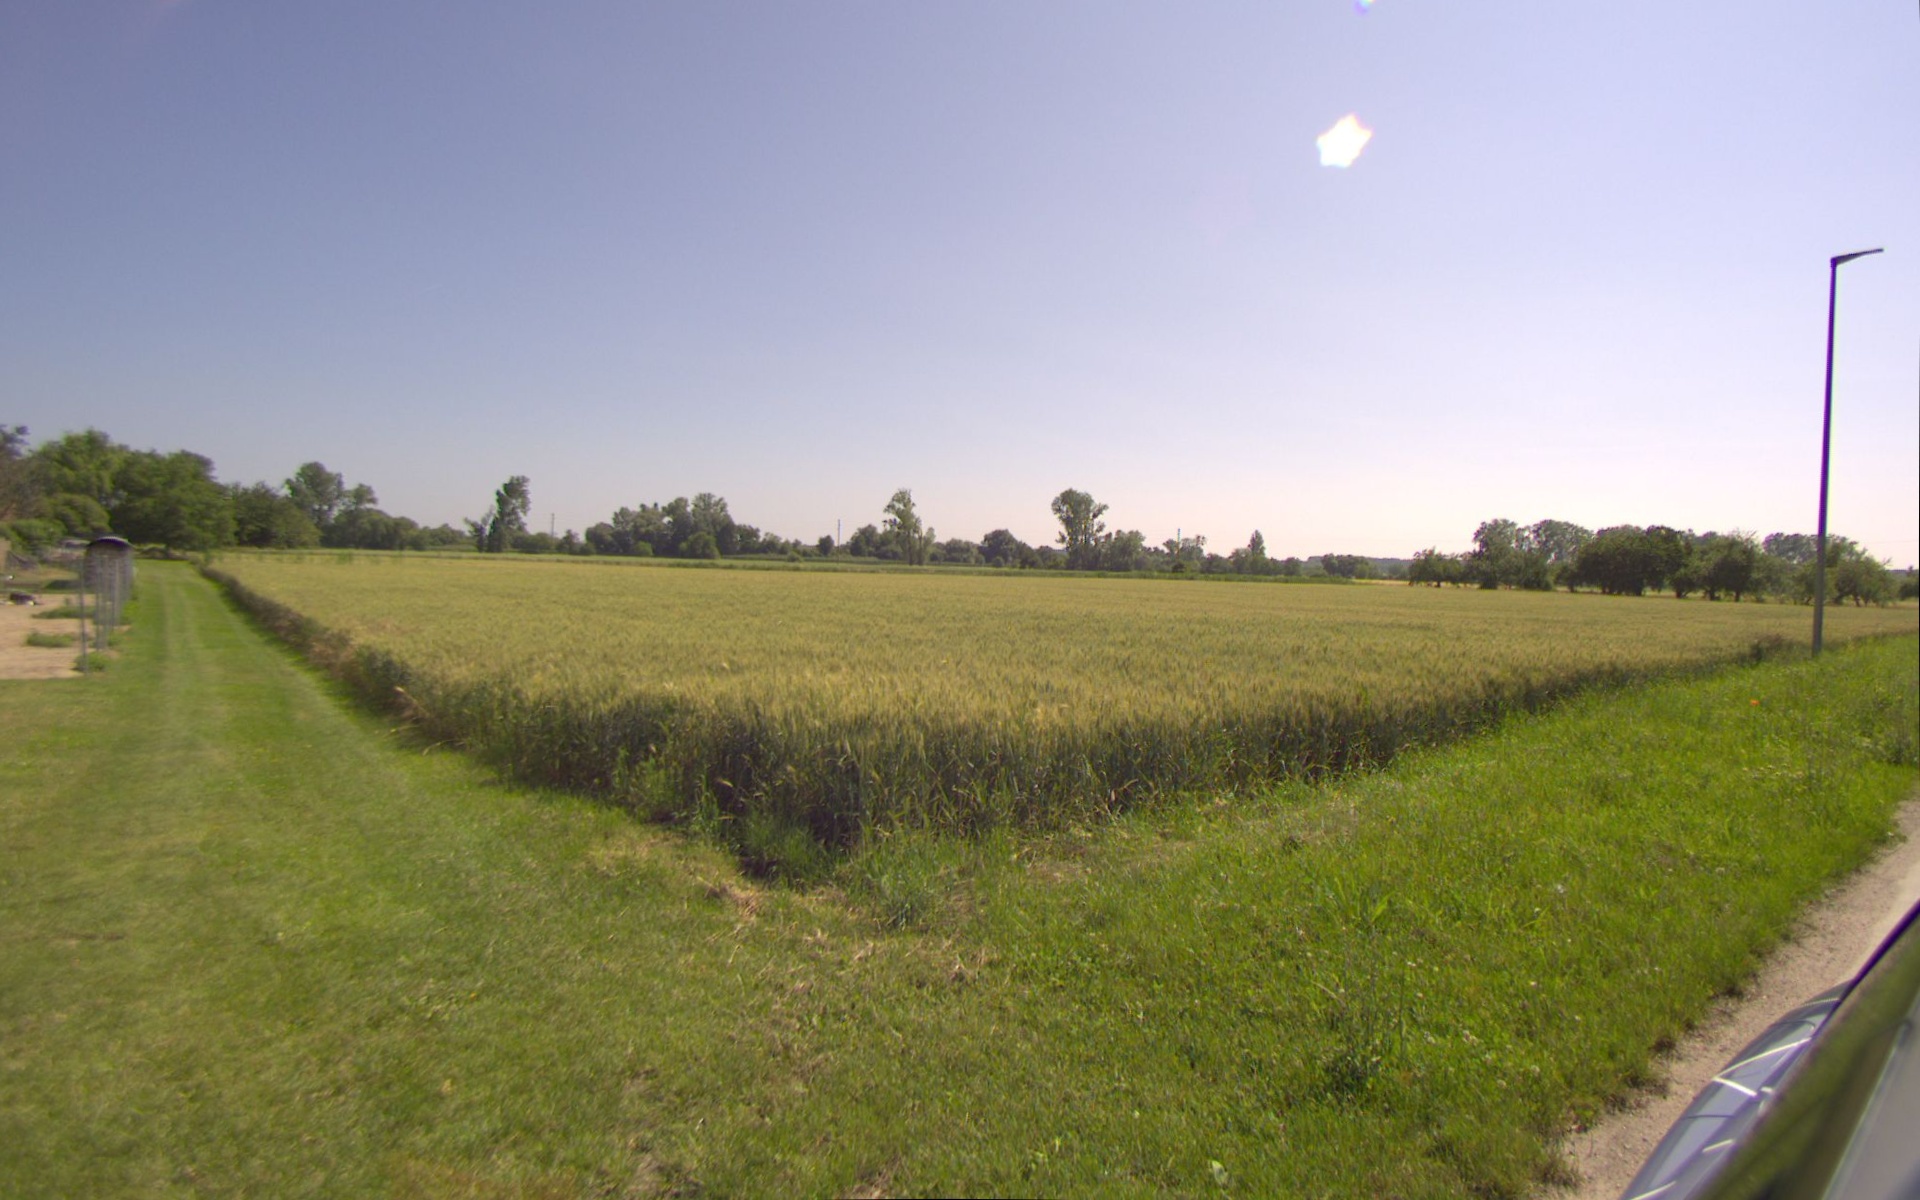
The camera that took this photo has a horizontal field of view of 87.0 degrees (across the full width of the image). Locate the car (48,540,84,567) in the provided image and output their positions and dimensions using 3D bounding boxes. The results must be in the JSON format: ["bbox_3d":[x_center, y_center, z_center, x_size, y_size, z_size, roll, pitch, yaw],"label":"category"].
[{"bbox_3d":[-67.821,-3.511,76.808,1.873,1.971,4.302,-1,2,-39],"label":"car"}]
